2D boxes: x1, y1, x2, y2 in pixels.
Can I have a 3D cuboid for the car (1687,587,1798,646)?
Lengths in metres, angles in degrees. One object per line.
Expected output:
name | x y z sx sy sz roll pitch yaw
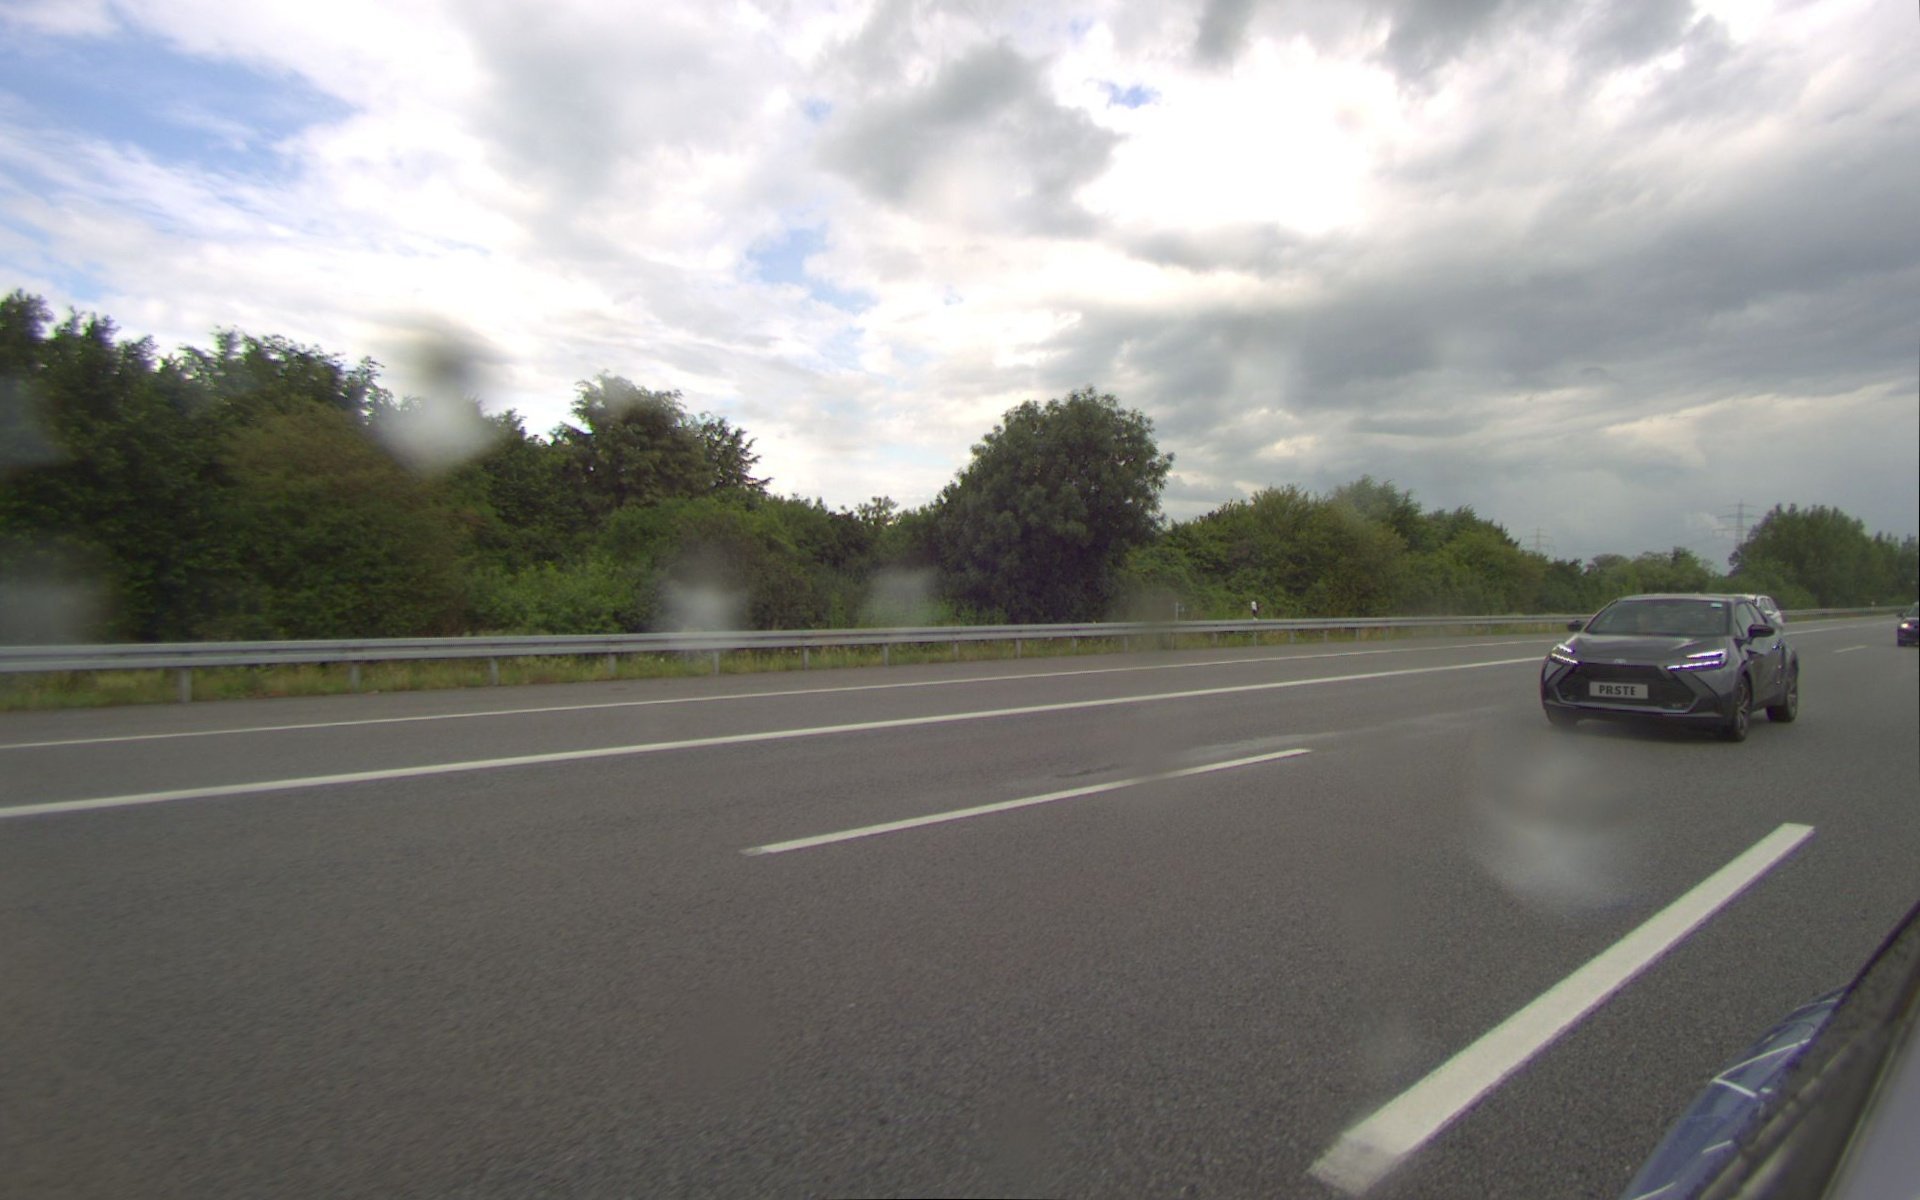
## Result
car | 23.024 0.433 29.702 4.615 1.619 1.813 0 1 -42

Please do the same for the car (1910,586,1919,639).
car | 32.100 0.402 32.571 4.377 1.651 1.710 0 1 -40

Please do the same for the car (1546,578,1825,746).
car | 8.733 0.586 12.019 4.519 1.633 1.783 0 1 -42
